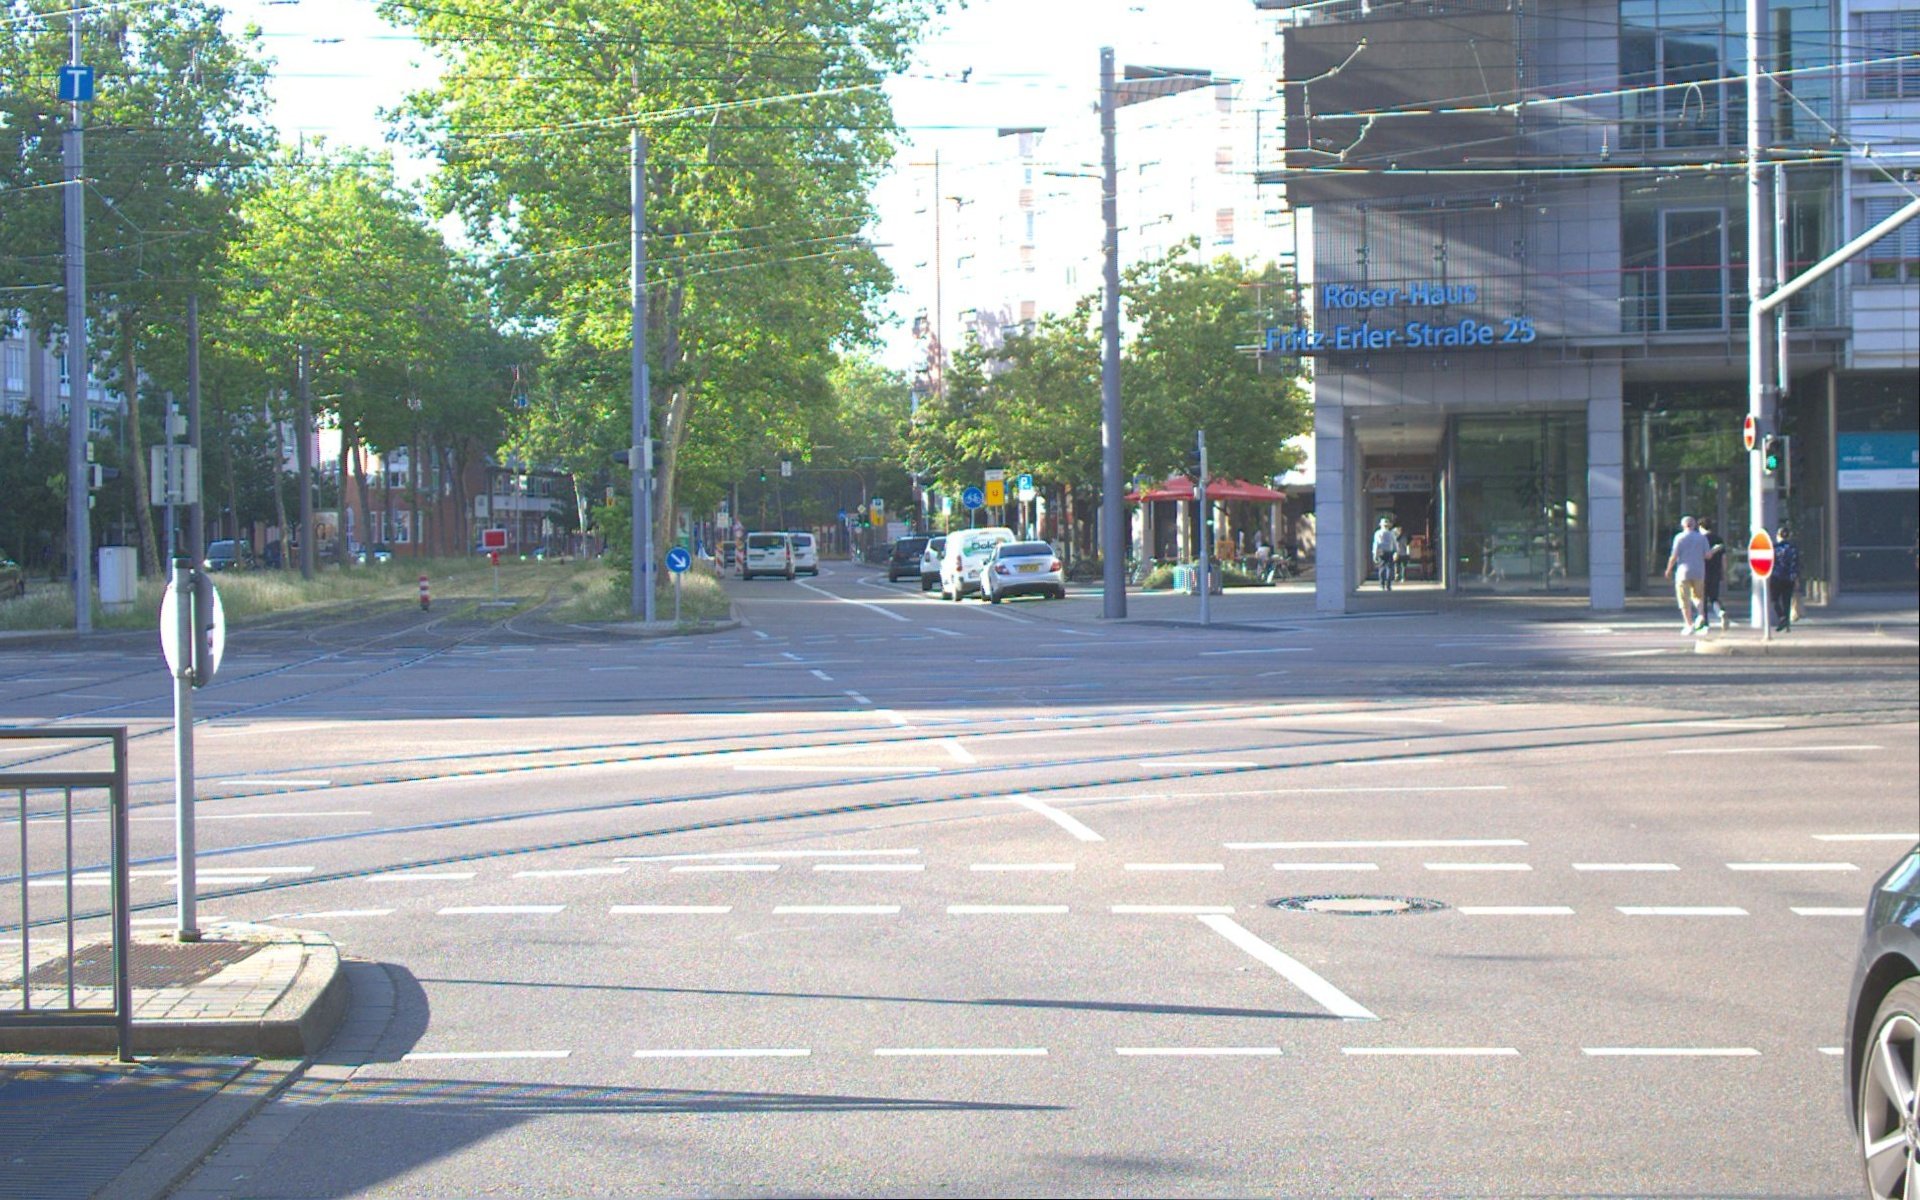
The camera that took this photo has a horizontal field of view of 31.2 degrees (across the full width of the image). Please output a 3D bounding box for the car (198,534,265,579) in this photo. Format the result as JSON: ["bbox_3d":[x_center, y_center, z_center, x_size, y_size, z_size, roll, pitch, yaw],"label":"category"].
[{"bbox_3d":[-30.534,-1.829,144.148,1.993,1.809,4.000,-1,1,-1],"label":"car"}]

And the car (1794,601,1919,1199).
[{"bbox_3d":[2.856,0.755,5.321,1.739,1.409,4.271,1,1,-5],"label":"car"}]

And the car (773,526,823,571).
[{"bbox_3d":[-7.045,-2.262,149.980,1.993,1.905,4.000,-1,1,-1],"label":"car"}]

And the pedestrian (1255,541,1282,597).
[{"bbox_3d":[9.414,-0.949,105.004,0.744,1.708,0.612,-1,1,-1],"label":"pedestrian"}]

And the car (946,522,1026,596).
[{"bbox_3d":[0.647,-1.092,89.559,1.993,1.853,4.000,-1,1,-1],"label":"car"}]

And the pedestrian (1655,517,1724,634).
[{"bbox_3d":[11.312,-0.384,53.348,0.863,1.782,0.871,-1,1,0],"label":"pedestrian"}]

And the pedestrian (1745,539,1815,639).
[{"bbox_3d":[12.980,-0.179,54.443,0.948,1.558,0.897,-1,1,6],"label":"pedestrian"}]

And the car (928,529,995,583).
[{"bbox_3d":[0.034,-1.355,105.205,1.993,1.612,4.000,-1,1,0],"label":"car"}]

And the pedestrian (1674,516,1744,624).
[{"bbox_3d":[11.853,-0.476,54.429,0.912,1.679,1.035,-1,1,4],"label":"pedestrian"}]

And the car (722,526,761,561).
[{"bbox_3d":[-12.604,-3.261,198.376,1.993,2.007,4.000,-1,1,-1],"label":"car"}]

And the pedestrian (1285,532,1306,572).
[{"bbox_3d":[10.744,-1.536,110.116,0.577,1.284,0.910,-1,1,-1],"label":"pedestrian"}]

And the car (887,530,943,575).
[{"bbox_3d":[-1.647,-1.753,126.652,1.993,1.612,4.000,-1,1,0],"label":"car"}]

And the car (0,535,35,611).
[{"bbox_3d":[-21.663,-0.582,74.915,1.993,1.634,4.000,-1,1,-1],"label":"car"}]

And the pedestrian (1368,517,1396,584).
[{"bbox_3d":[9.670,-1.136,78.841,0.612,1.502,0.579,-1,1,6],"label":"pedestrian"}]

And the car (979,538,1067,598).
[{"bbox_3d":[1.491,-0.783,82.764,1.993,1.371,4.000,-1,1,-1],"label":"car"}]

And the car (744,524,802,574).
[{"bbox_3d":[-7.219,-1.976,132.853,1.961,1.842,5.330,-1,1,0],"label":"car"}]
